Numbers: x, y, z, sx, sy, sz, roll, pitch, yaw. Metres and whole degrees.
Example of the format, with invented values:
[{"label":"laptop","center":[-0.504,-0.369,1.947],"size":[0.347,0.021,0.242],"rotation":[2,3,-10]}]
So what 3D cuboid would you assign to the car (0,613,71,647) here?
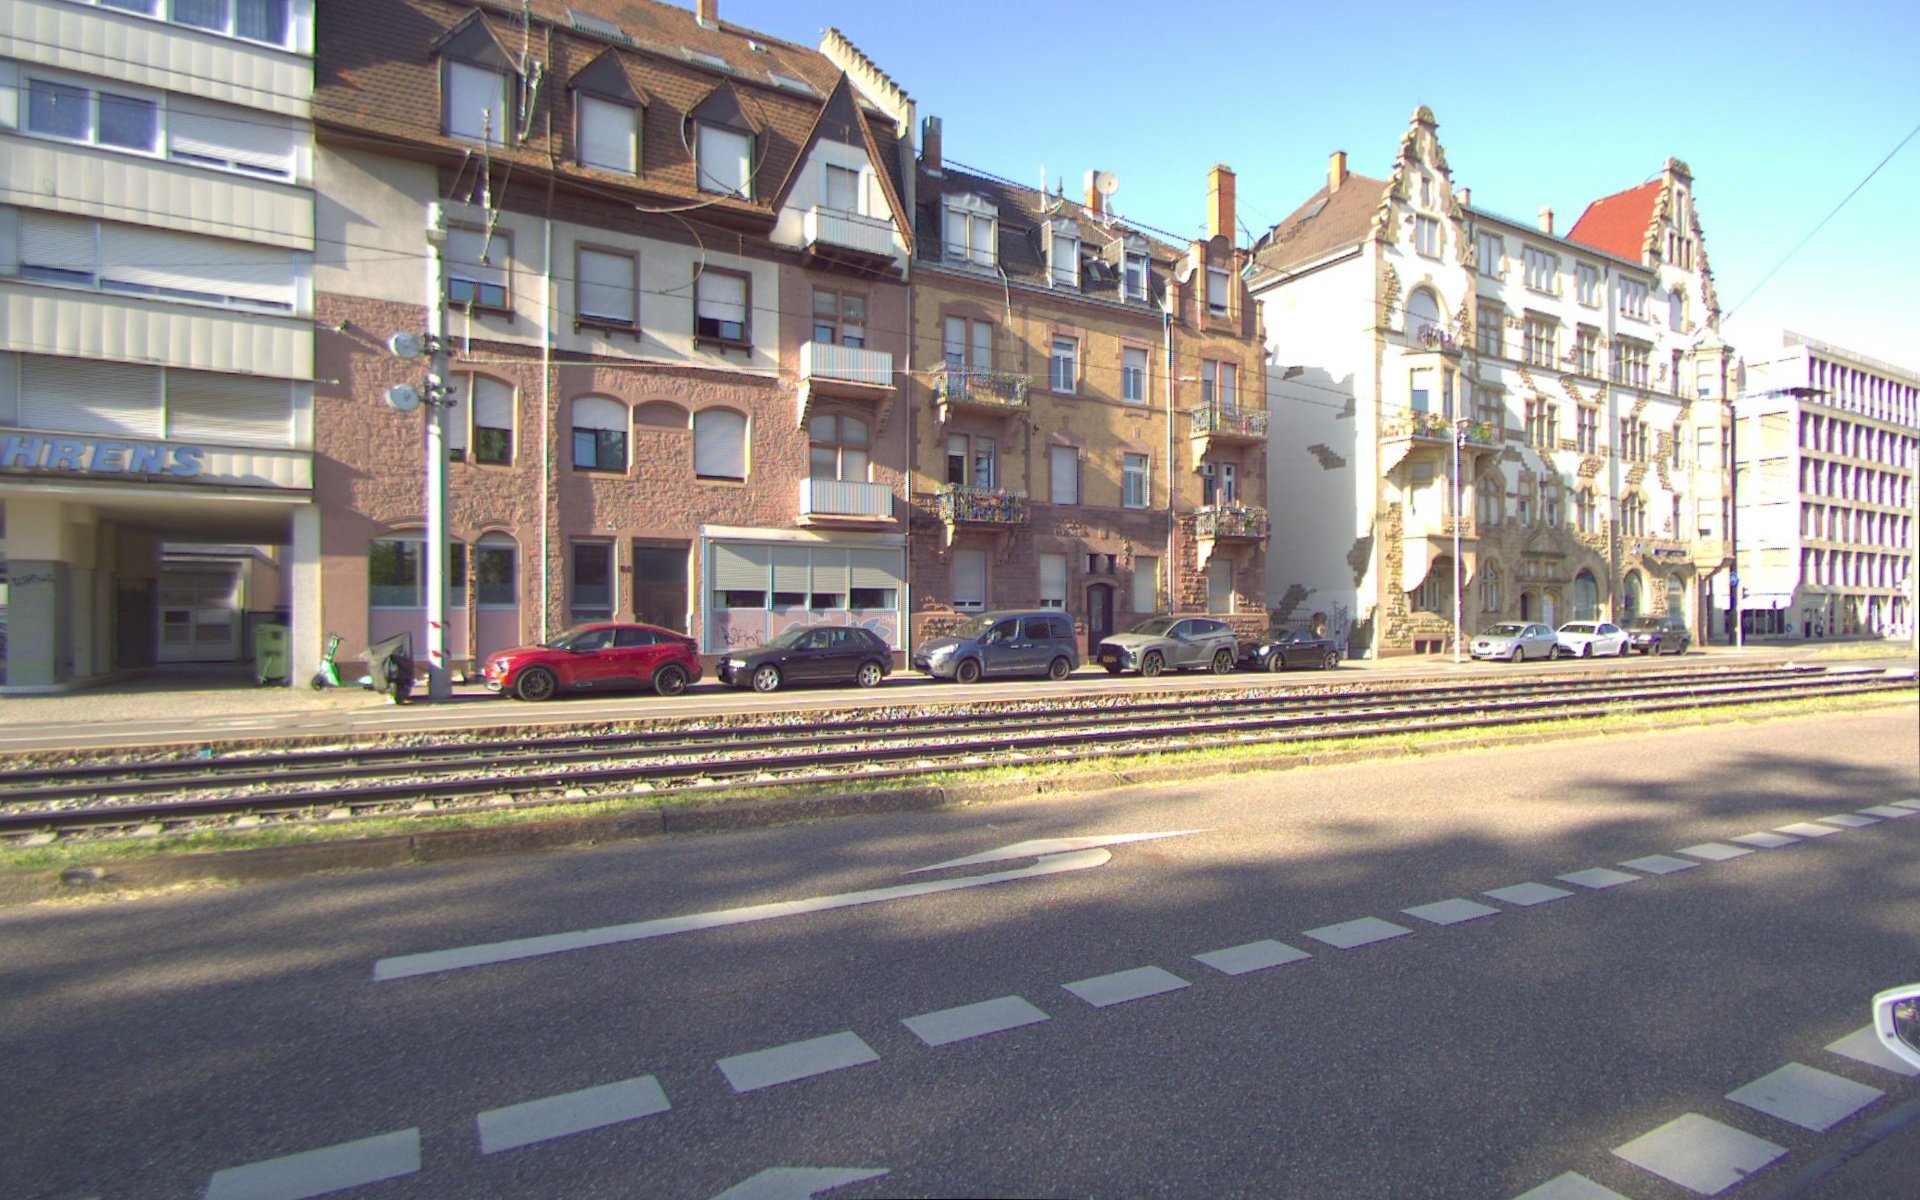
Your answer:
[{"label":"car","center":[-51.362,1.617,54.727],"size":[4.076,1.835,1.879],"rotation":[0,-1,-31]}]

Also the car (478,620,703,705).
[{"label":"car","center":[-7.711,1.226,21.019],"size":[4.162,1.519,1.846],"rotation":[0,2,-31]}]

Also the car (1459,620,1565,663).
[{"label":"car","center":[20.770,1.513,37.732],"size":[4.177,1.450,1.699],"rotation":[0,1,-33]}]

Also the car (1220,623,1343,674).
[{"label":"car","center":[10.006,1.466,31.237],"size":[3.683,1.373,1.614],"rotation":[0,2,-31]}]

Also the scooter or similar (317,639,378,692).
[{"label":"scooter or similar","center":[-13.072,1.383,21.457],"size":[1.108,1.083,0.203],"rotation":[0,1,-30]}]

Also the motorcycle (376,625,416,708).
[{"label":"motorcycle","center":[-10.822,1.235,19.290],"size":[0.621,1.441,1.846],"rotation":[-1,1,-29]}]

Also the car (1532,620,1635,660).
[{"label":"car","center":[25.334,1.574,40.758],"size":[4.604,1.442,1.707],"rotation":[0,1,-32]}]

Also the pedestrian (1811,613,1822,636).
[{"label":"pedestrian","center":[67.898,1.936,79.601],"size":[0.522,1.868,0.443],"rotation":[-1,-1,22]}]

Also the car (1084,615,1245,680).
[{"label":"car","center":[5.889,1.296,28.840],"size":[4.451,1.645,1.846],"rotation":[0,2,-31]}]

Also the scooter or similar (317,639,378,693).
[{"label":"scooter or similar","center":[-12.943,1.388,21.246],"size":[1.108,1.083,0.203],"rotation":[0,1,-30]}]

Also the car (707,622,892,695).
[{"label":"car","center":[-3.669,1.287,23.137],"size":[3.883,1.457,1.686],"rotation":[0,2,-31]}]

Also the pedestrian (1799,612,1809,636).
[{"label":"pedestrian","center":[67.397,1.934,80.193],"size":[0.464,1.868,0.443],"rotation":[-1,-1,22]}]

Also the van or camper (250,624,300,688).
[{"label":"van or camper","center":[-15.206,1.218,22.317],"size":[0.794,1.375,1.418],"rotation":[0,-1,-30]}]

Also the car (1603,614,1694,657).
[{"label":"car","center":[29.838,1.509,43.520],"size":[4.169,1.698,1.707],"rotation":[0,1,-32]}]

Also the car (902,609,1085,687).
[{"label":"car","center":[0.882,1.164,25.835],"size":[4.362,1.782,1.878],"rotation":[0,2,-28]}]

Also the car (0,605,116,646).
[{"label":"car","center":[-52.749,1.433,57.478],"size":[6.525,2.288,2.343],"rotation":[0,-1,-31]}]
